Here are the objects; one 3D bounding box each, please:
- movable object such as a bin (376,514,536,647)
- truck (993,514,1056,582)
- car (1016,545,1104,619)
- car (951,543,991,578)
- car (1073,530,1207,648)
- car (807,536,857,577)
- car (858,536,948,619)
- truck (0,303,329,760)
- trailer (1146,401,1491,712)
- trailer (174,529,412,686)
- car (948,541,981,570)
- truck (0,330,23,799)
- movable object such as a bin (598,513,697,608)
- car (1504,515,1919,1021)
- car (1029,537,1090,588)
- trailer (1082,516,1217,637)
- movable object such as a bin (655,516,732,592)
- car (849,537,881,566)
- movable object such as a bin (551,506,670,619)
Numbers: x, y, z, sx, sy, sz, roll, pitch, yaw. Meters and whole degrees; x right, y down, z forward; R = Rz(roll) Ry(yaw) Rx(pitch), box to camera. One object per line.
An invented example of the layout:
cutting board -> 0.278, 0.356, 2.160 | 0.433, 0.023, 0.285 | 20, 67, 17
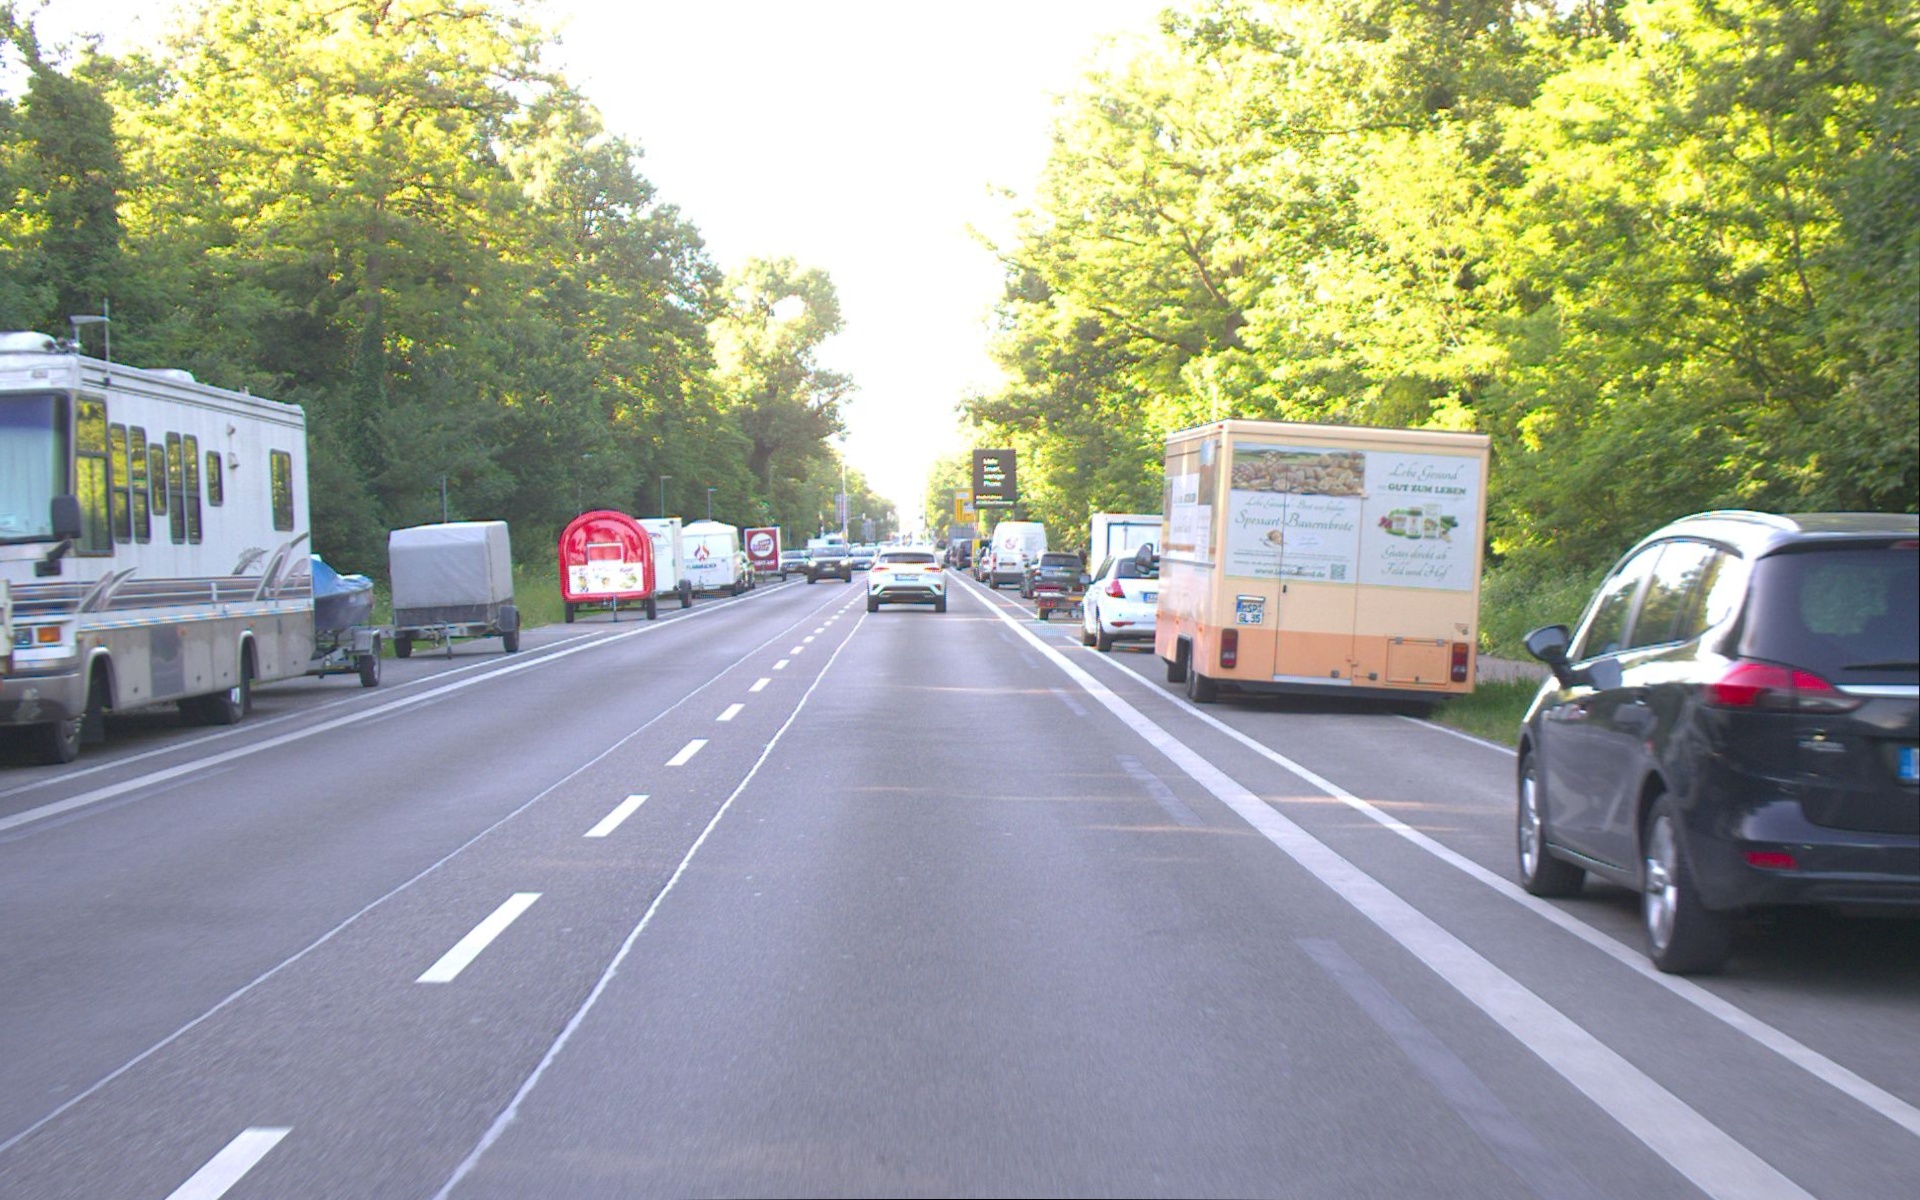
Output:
movable object such as a bin -> -7.873, -0.337, 54.045 | 1.953, 2.007, 4.000 | 0, 1, -1
truck -> 2.338, -1.912, 126.006 | 2.096, 2.444, 5.680 | 0, 1, -1
car -> 2.045, -0.398, 71.020 | 1.656, 1.473, 3.754 | 0, 1, -1
car -> 0.460, -1.705, 146.547 | 1.656, 1.473, 3.754 | 0, 1, -1
car -> 2.634, -0.186, 51.110 | 1.732, 1.678, 4.000 | 0, 1, -1
car -> -5.448, -1.870, 146.530 | 1.993, 1.672, 4.000 | -2, 1, -1
car -> -1.298, -0.551, 79.756 | 2.028, 1.834, 4.029 | 0, 1, 0
truck -> -7.926, -0.594, 30.552 | 2.707, 3.336, 10.924 | 0, 1, 0
trailer -> 3.496, -0.459, 35.104 | 2.757, 2.860, 6.589 | 0, 1, -1
trailer -> -7.807, 0.043, 40.627 | 1.993, 1.744, 4.328 | 0, 1, -1
car -> 0.246, -2.304, 178.809 | 1.656, 1.473, 3.754 | 0, 1, -1
truck -> -7.643, -0.173, 19.156 | 2.707, 3.083, 7.989 | 0, 1, 0
movable object such as a bin -> -8.391, -1.068, 92.517 | 2.322, 2.493, 4.000 | 0, 1, -1
car -> 3.352, 0.521, 13.286 | 1.841, 1.656, 4.000 | 0, 1, 0
car -> 2.942, -1.134, 102.108 | 1.656, 1.473, 3.754 | 0, 1, -1
trailer -> 3.144, -0.414, 57.792 | 1.993, 1.963, 4.000 | 0, 1, -1
movable object such as a bin -> -8.909, -1.563, 115.223 | 2.322, 2.493, 4.000 | 0, 1, -1
car -> -5.590, -2.880, 202.914 | 1.779, 1.659, 4.430 | -2, 1, -1
movable object such as a bin -> -7.929, -0.870, 78.320 | 2.322, 2.493, 4.000 | 0, 1, -1
